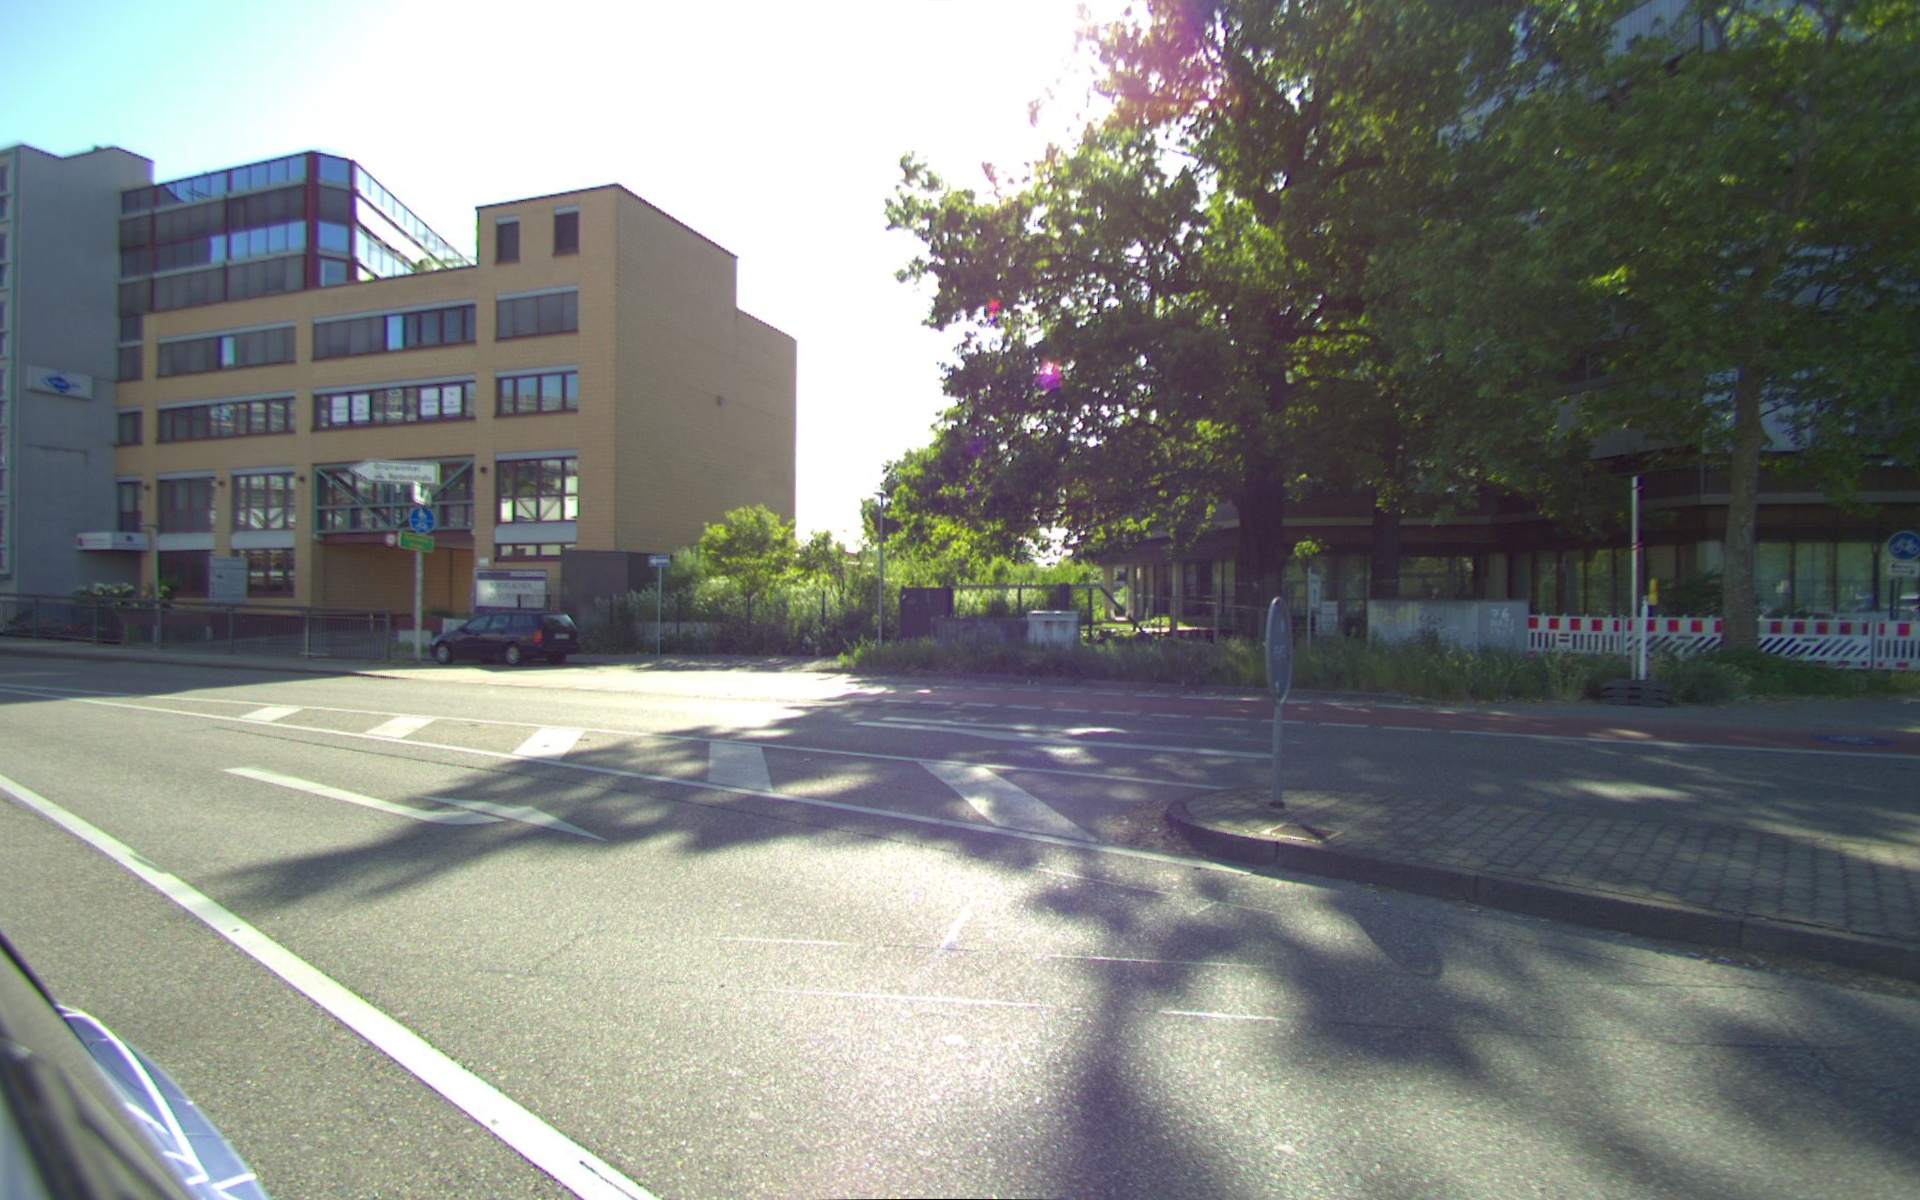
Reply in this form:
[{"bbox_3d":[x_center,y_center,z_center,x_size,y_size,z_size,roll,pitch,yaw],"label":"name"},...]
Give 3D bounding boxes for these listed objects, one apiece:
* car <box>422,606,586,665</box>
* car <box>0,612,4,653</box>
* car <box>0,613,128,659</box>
[{"bbox_3d":[-12.595,1.004,27.947,4.352,1.520,1.646,-1,-3,24],"label":"car"},{"bbox_3d":[-38.379,1.239,38.054,4.128,1.535,1.869,0,-1,19],"label":"car"},{"bbox_3d":[-31.153,1.221,35.023,4.124,1.535,1.630,0,-1,17],"label":"car"}]
